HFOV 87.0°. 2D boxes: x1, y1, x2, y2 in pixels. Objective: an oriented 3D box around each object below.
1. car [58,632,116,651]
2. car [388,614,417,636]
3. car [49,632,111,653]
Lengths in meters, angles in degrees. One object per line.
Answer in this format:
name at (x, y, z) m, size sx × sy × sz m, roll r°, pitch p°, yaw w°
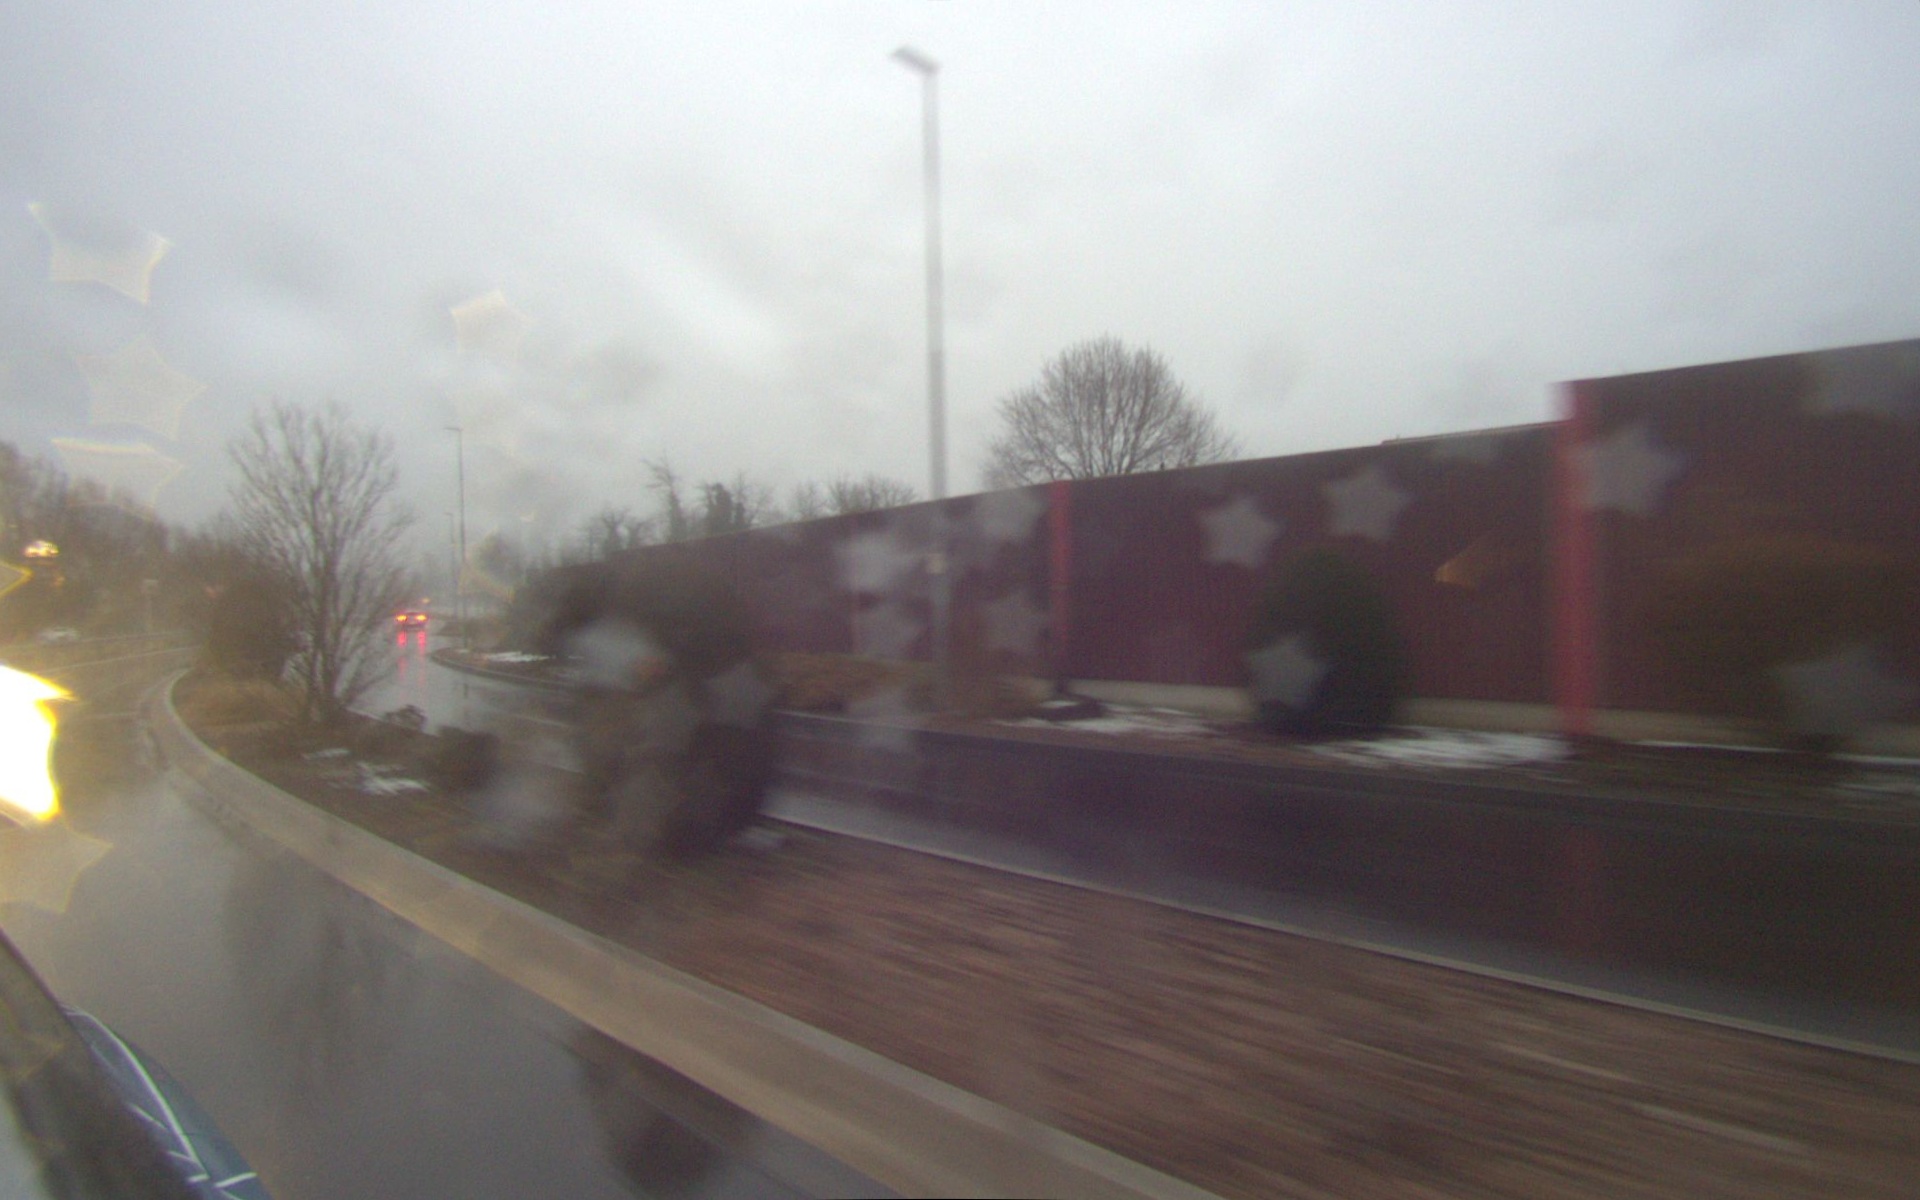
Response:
car at (-79.402, 3.762, 92.101) m, size 3.949 × 1.543 × 1.718 m, roll 0°, pitch 0°, yaw -38°
car at (-44.265, 1.933, 80.264) m, size 1.671 × 1.590 × 3.895 m, roll -1°, pitch 1°, yaw -34°
car at (-75.882, 3.645, 87.326) m, size 3.949 × 1.609 × 1.810 m, roll 0°, pitch 0°, yaw -38°
